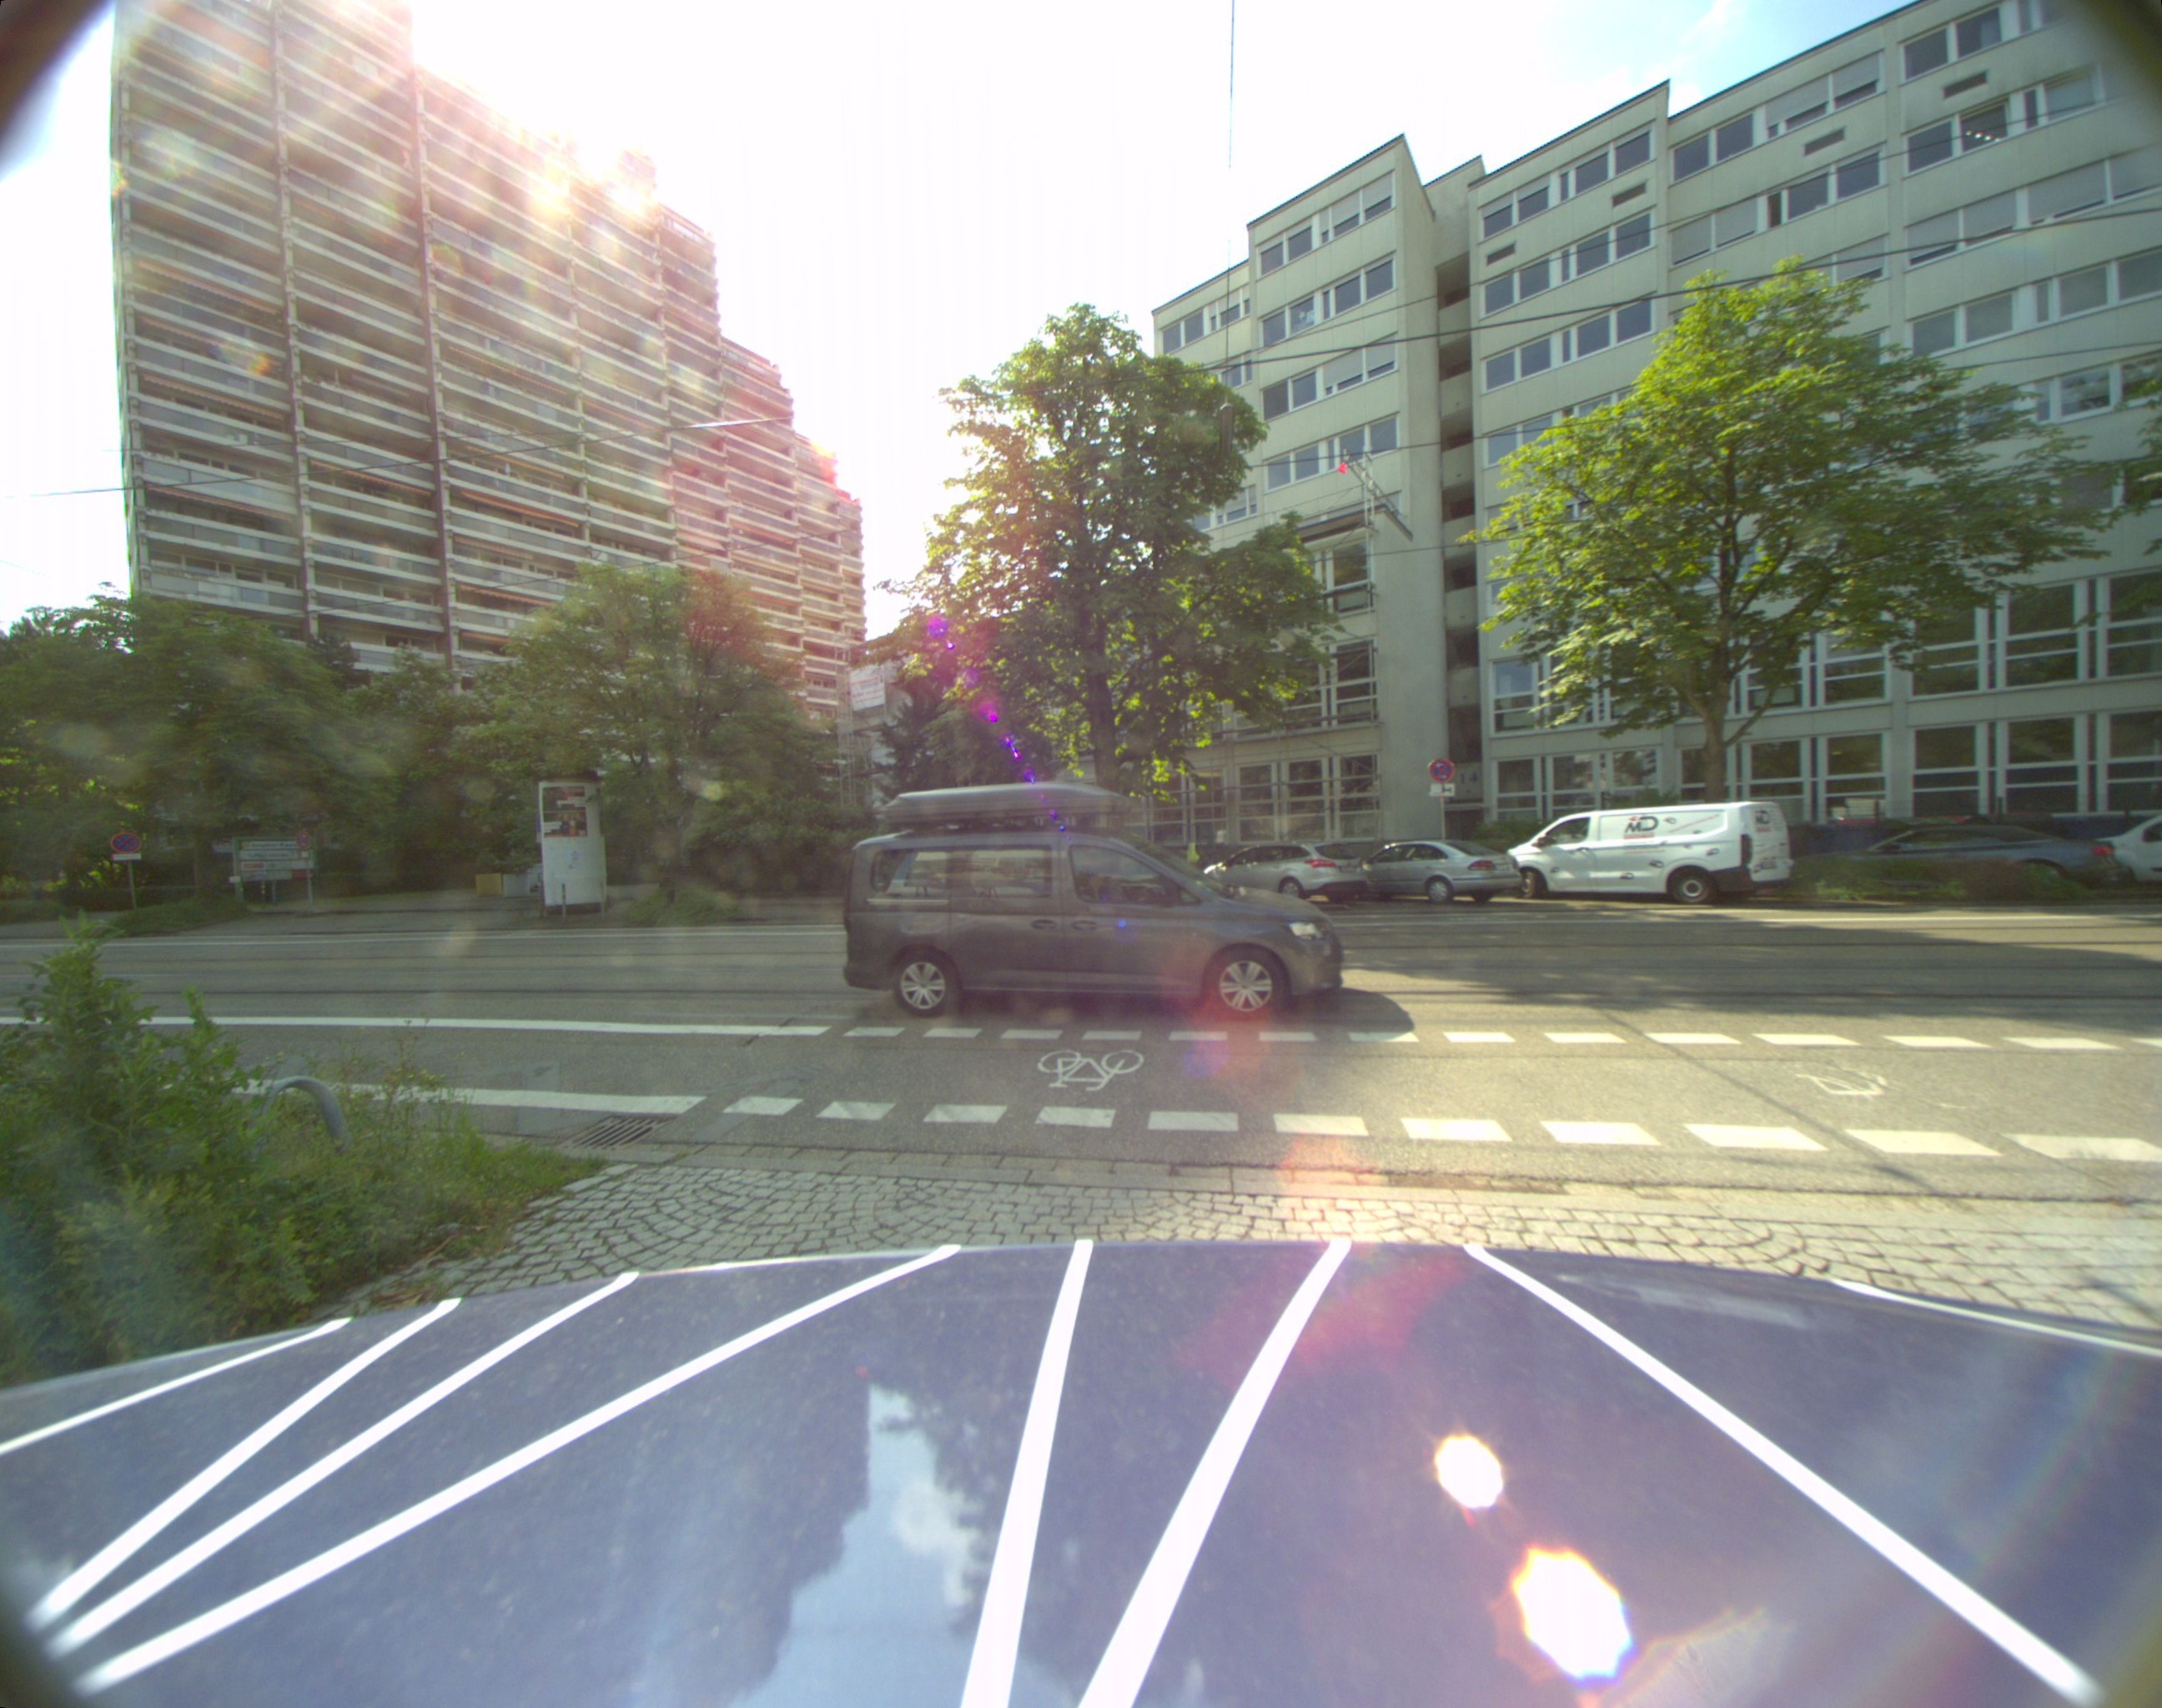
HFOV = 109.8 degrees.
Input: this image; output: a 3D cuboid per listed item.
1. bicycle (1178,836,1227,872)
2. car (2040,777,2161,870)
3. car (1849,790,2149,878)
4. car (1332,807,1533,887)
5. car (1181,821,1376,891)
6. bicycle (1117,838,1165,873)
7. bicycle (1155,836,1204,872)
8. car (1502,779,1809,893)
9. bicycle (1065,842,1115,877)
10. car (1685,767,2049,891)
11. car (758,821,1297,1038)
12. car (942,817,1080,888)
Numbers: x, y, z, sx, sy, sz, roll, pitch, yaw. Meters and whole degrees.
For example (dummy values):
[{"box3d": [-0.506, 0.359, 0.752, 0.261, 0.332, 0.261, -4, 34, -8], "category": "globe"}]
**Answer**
[{"box3d": [4.048, -0.014, 25.173, 0.496, 1.081, 2.059, -3, 2, 41], "category": "bicycle"}, {"box3d": [21.164, -0.639, 14.268, 1.886, 1.702, 3.750, -5, 1, -34], "category": "car"}, {"box3d": [18.008, -0.339, 15.071, 1.765, 1.492, 3.628, -4, 1, -36], "category": "car"}, {"box3d": [7.936, -0.107, 17.482, 1.728, 1.466, 3.777, -3, -2, -31], "category": "car"}, {"box3d": [4.617, 0.085, 18.405, 1.743, 1.418, 4.451, -4, 1, -35], "category": "car"}, {"box3d": [2.125, 0.036, 26.625, 0.496, 1.081, 2.059, -3, 2, 41], "category": "bicycle"}, {"box3d": [3.329, -0.021, 25.494, 0.496, 1.081, 2.059, -3, 2, 41], "category": "bicycle"}, {"box3d": [11.593, -0.364, 15.721, 1.934, 1.902, 4.631, -6, 3, -29], "category": "car"}, {"box3d": [0.336, 0.186, 27.034, 0.496, 1.081, 2.059, -3, 2, 41], "category": "bicycle"}, {"box3d": [14.884, -0.473, 14.737, 1.906, 1.987, 4.562, -5, 3, -29], "category": "car"}, {"box3d": [-0.427, 0.675, 7.639, 4.829, 1.764, 1.948, -2, 3, 12], "category": "car"}, {"box3d": [-1.834, -0.005, 18.677, 1.762, 1.454, 3.991, -5, 1, -30], "category": "car"}]
